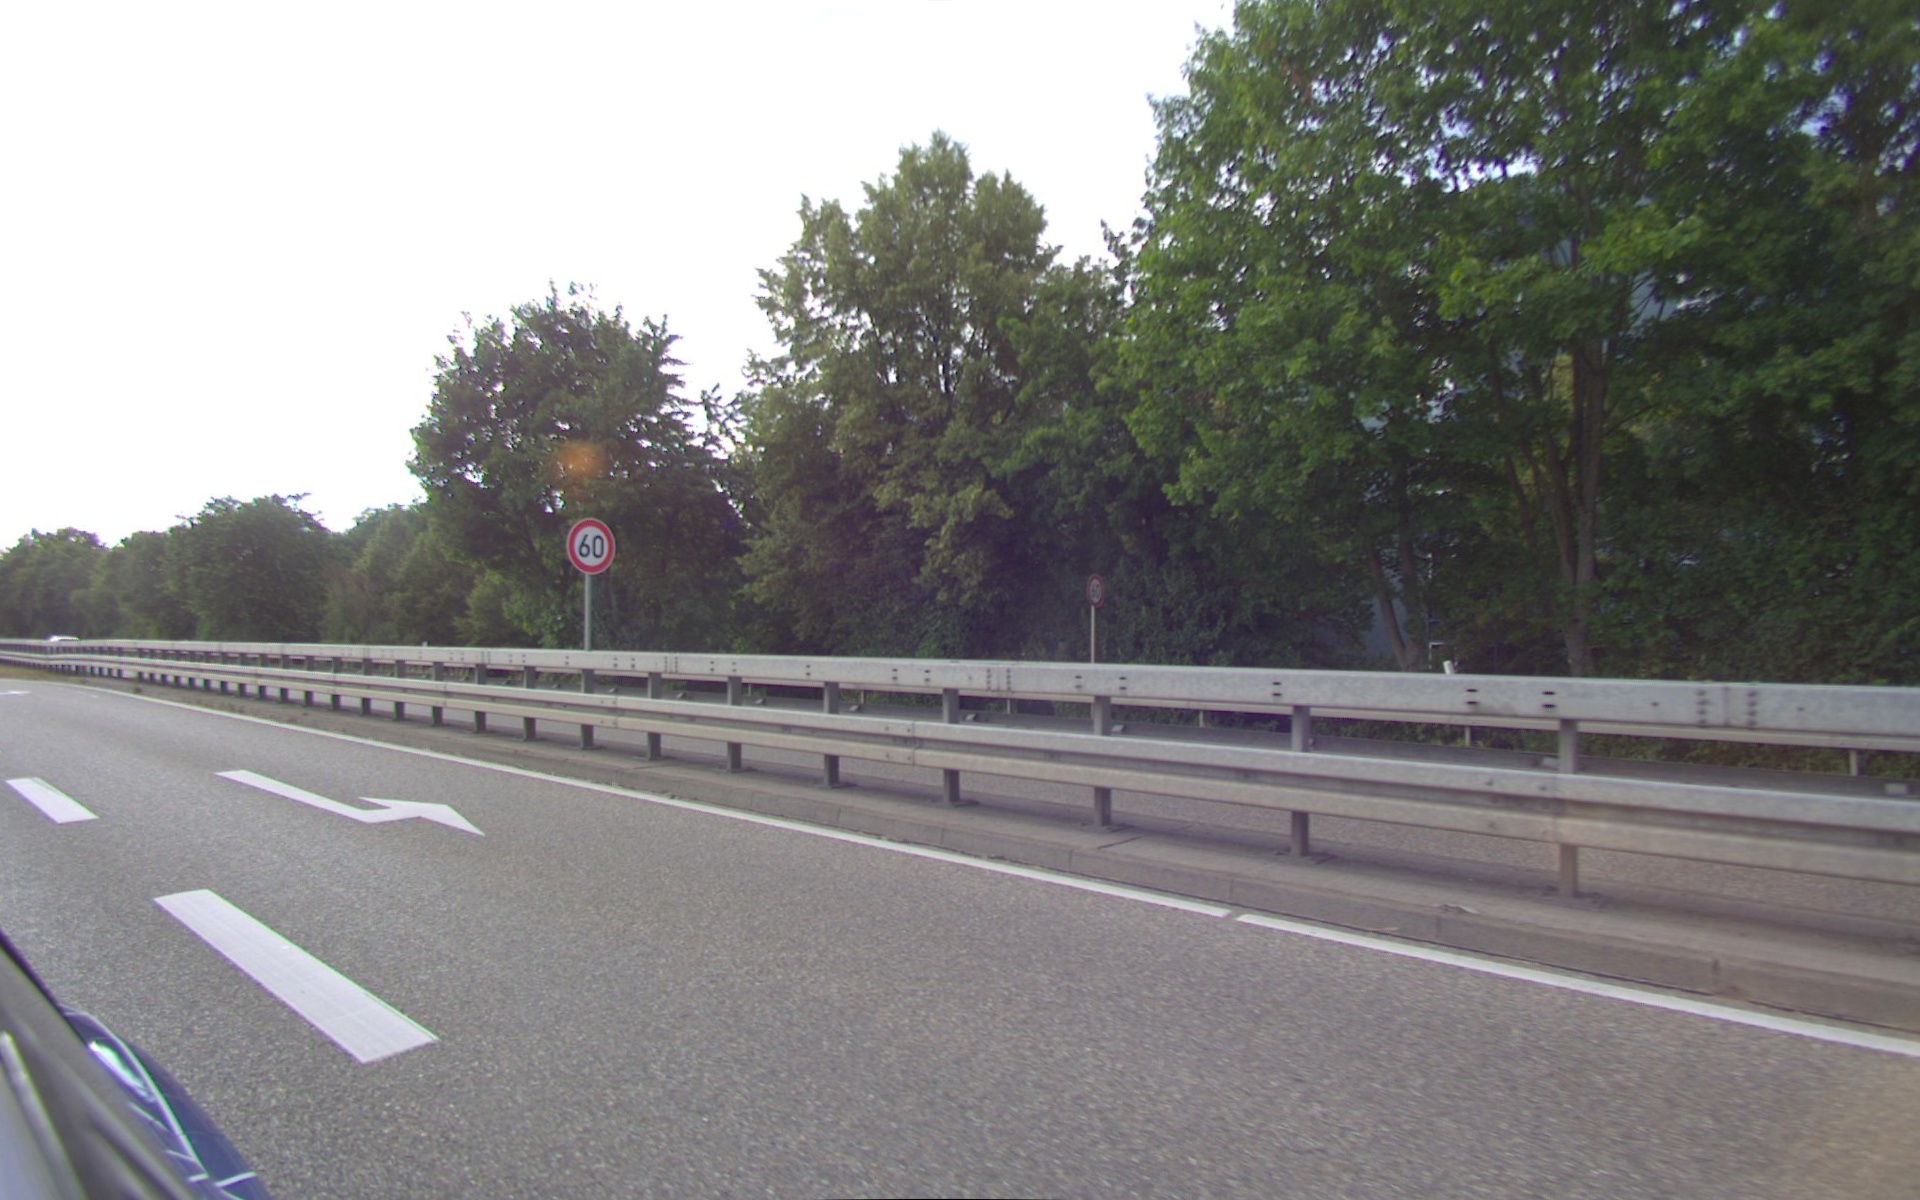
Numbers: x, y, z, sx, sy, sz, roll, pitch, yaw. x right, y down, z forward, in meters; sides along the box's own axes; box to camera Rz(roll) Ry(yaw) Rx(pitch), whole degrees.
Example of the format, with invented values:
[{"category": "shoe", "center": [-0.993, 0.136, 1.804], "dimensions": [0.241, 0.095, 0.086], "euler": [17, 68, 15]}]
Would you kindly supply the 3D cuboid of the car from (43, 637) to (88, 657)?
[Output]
[{"category": "car", "center": [-63.733, 3.351, 72.093], "dimensions": [4.455, 1.424, 1.741], "euler": [-3, -3, 40]}]
